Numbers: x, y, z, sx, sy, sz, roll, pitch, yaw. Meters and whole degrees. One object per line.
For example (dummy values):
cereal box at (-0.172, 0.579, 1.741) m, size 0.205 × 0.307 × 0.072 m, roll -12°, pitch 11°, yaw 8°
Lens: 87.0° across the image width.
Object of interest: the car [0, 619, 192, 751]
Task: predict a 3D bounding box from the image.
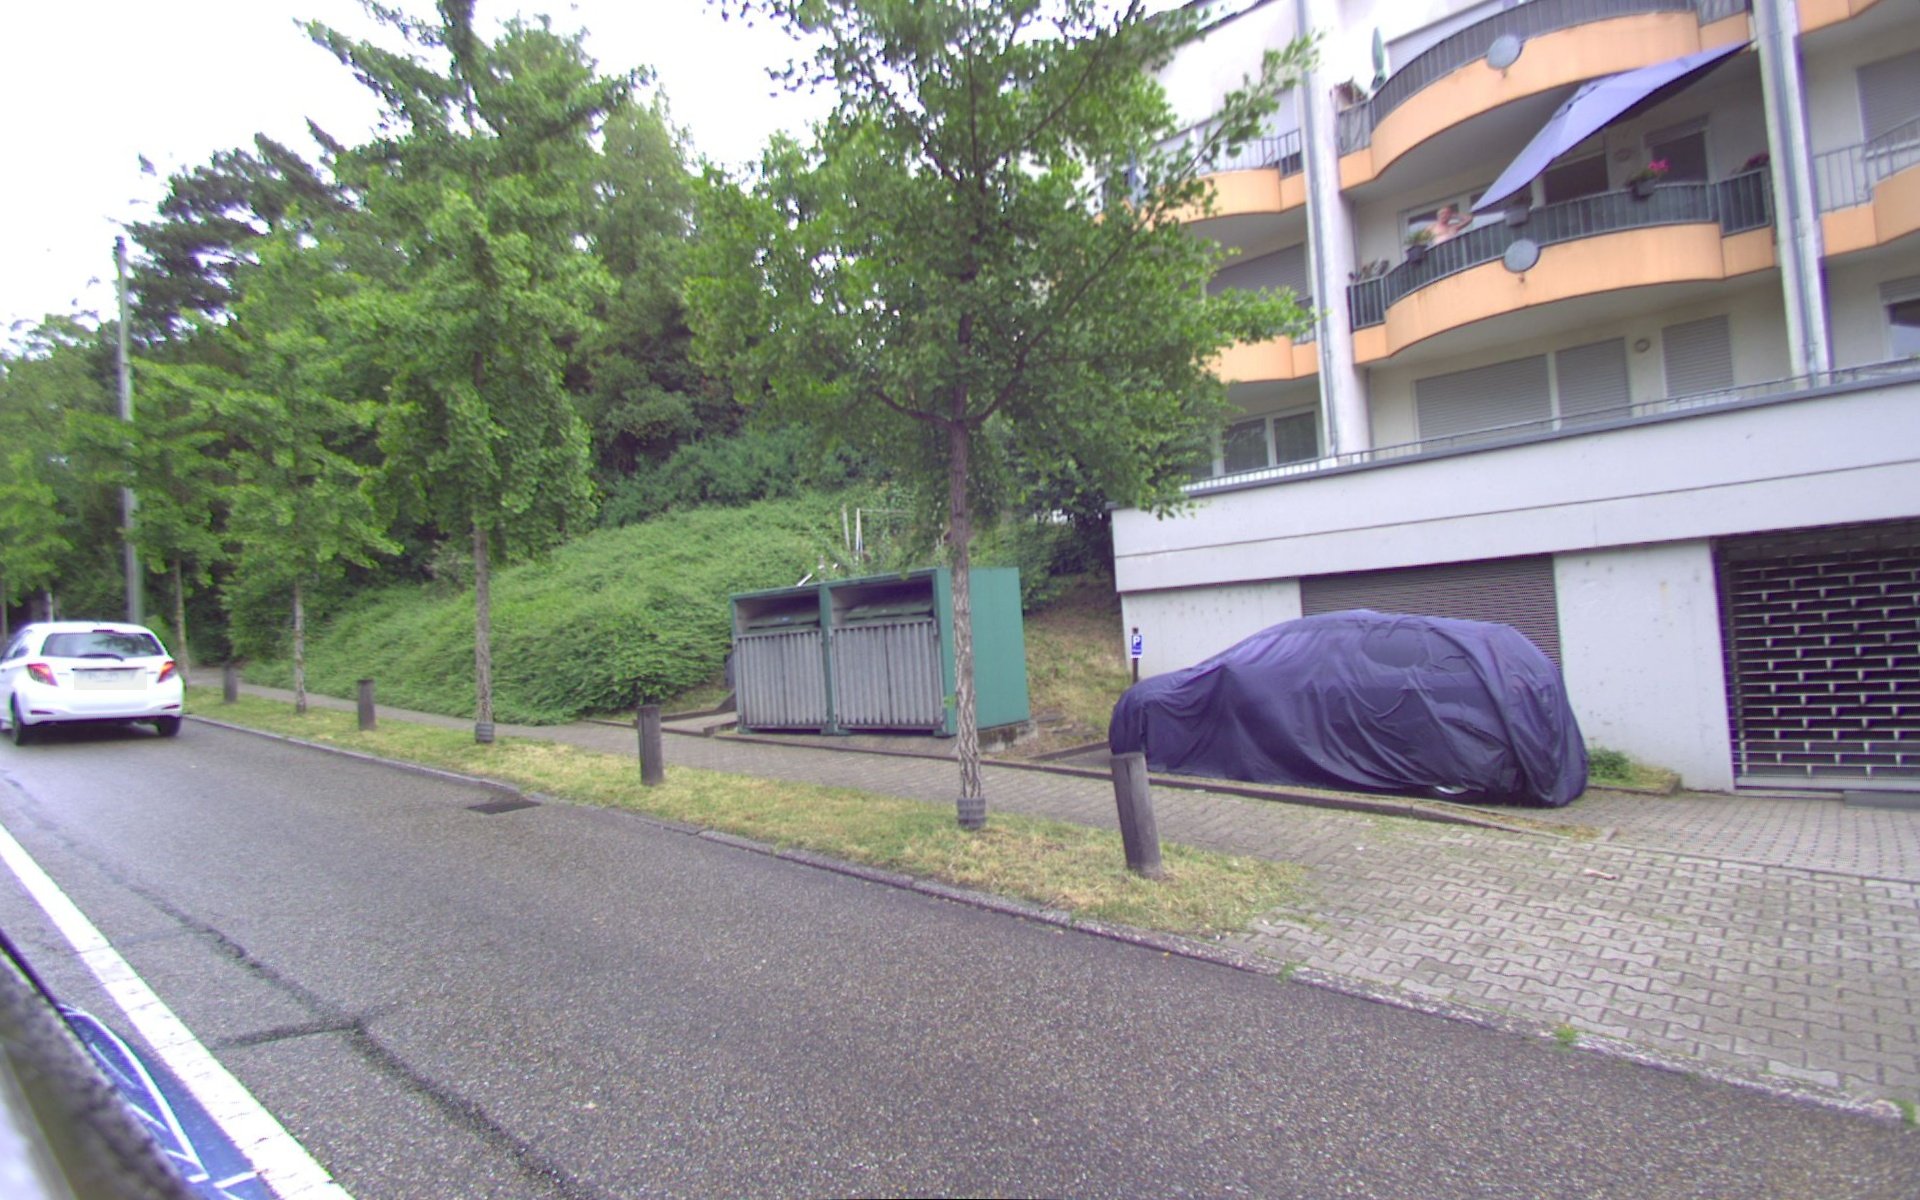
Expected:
car at (-12.062, 1.065, 13.779) m, size 3.838 × 1.543 × 1.692 m, roll -1°, pitch -3°, yaw 40°

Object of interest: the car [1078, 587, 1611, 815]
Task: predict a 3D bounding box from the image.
car at (3.250, 0.791, 9.026) m, size 4.096 × 1.573 × 1.759 m, roll -2°, pitch -5°, yaw 41°
